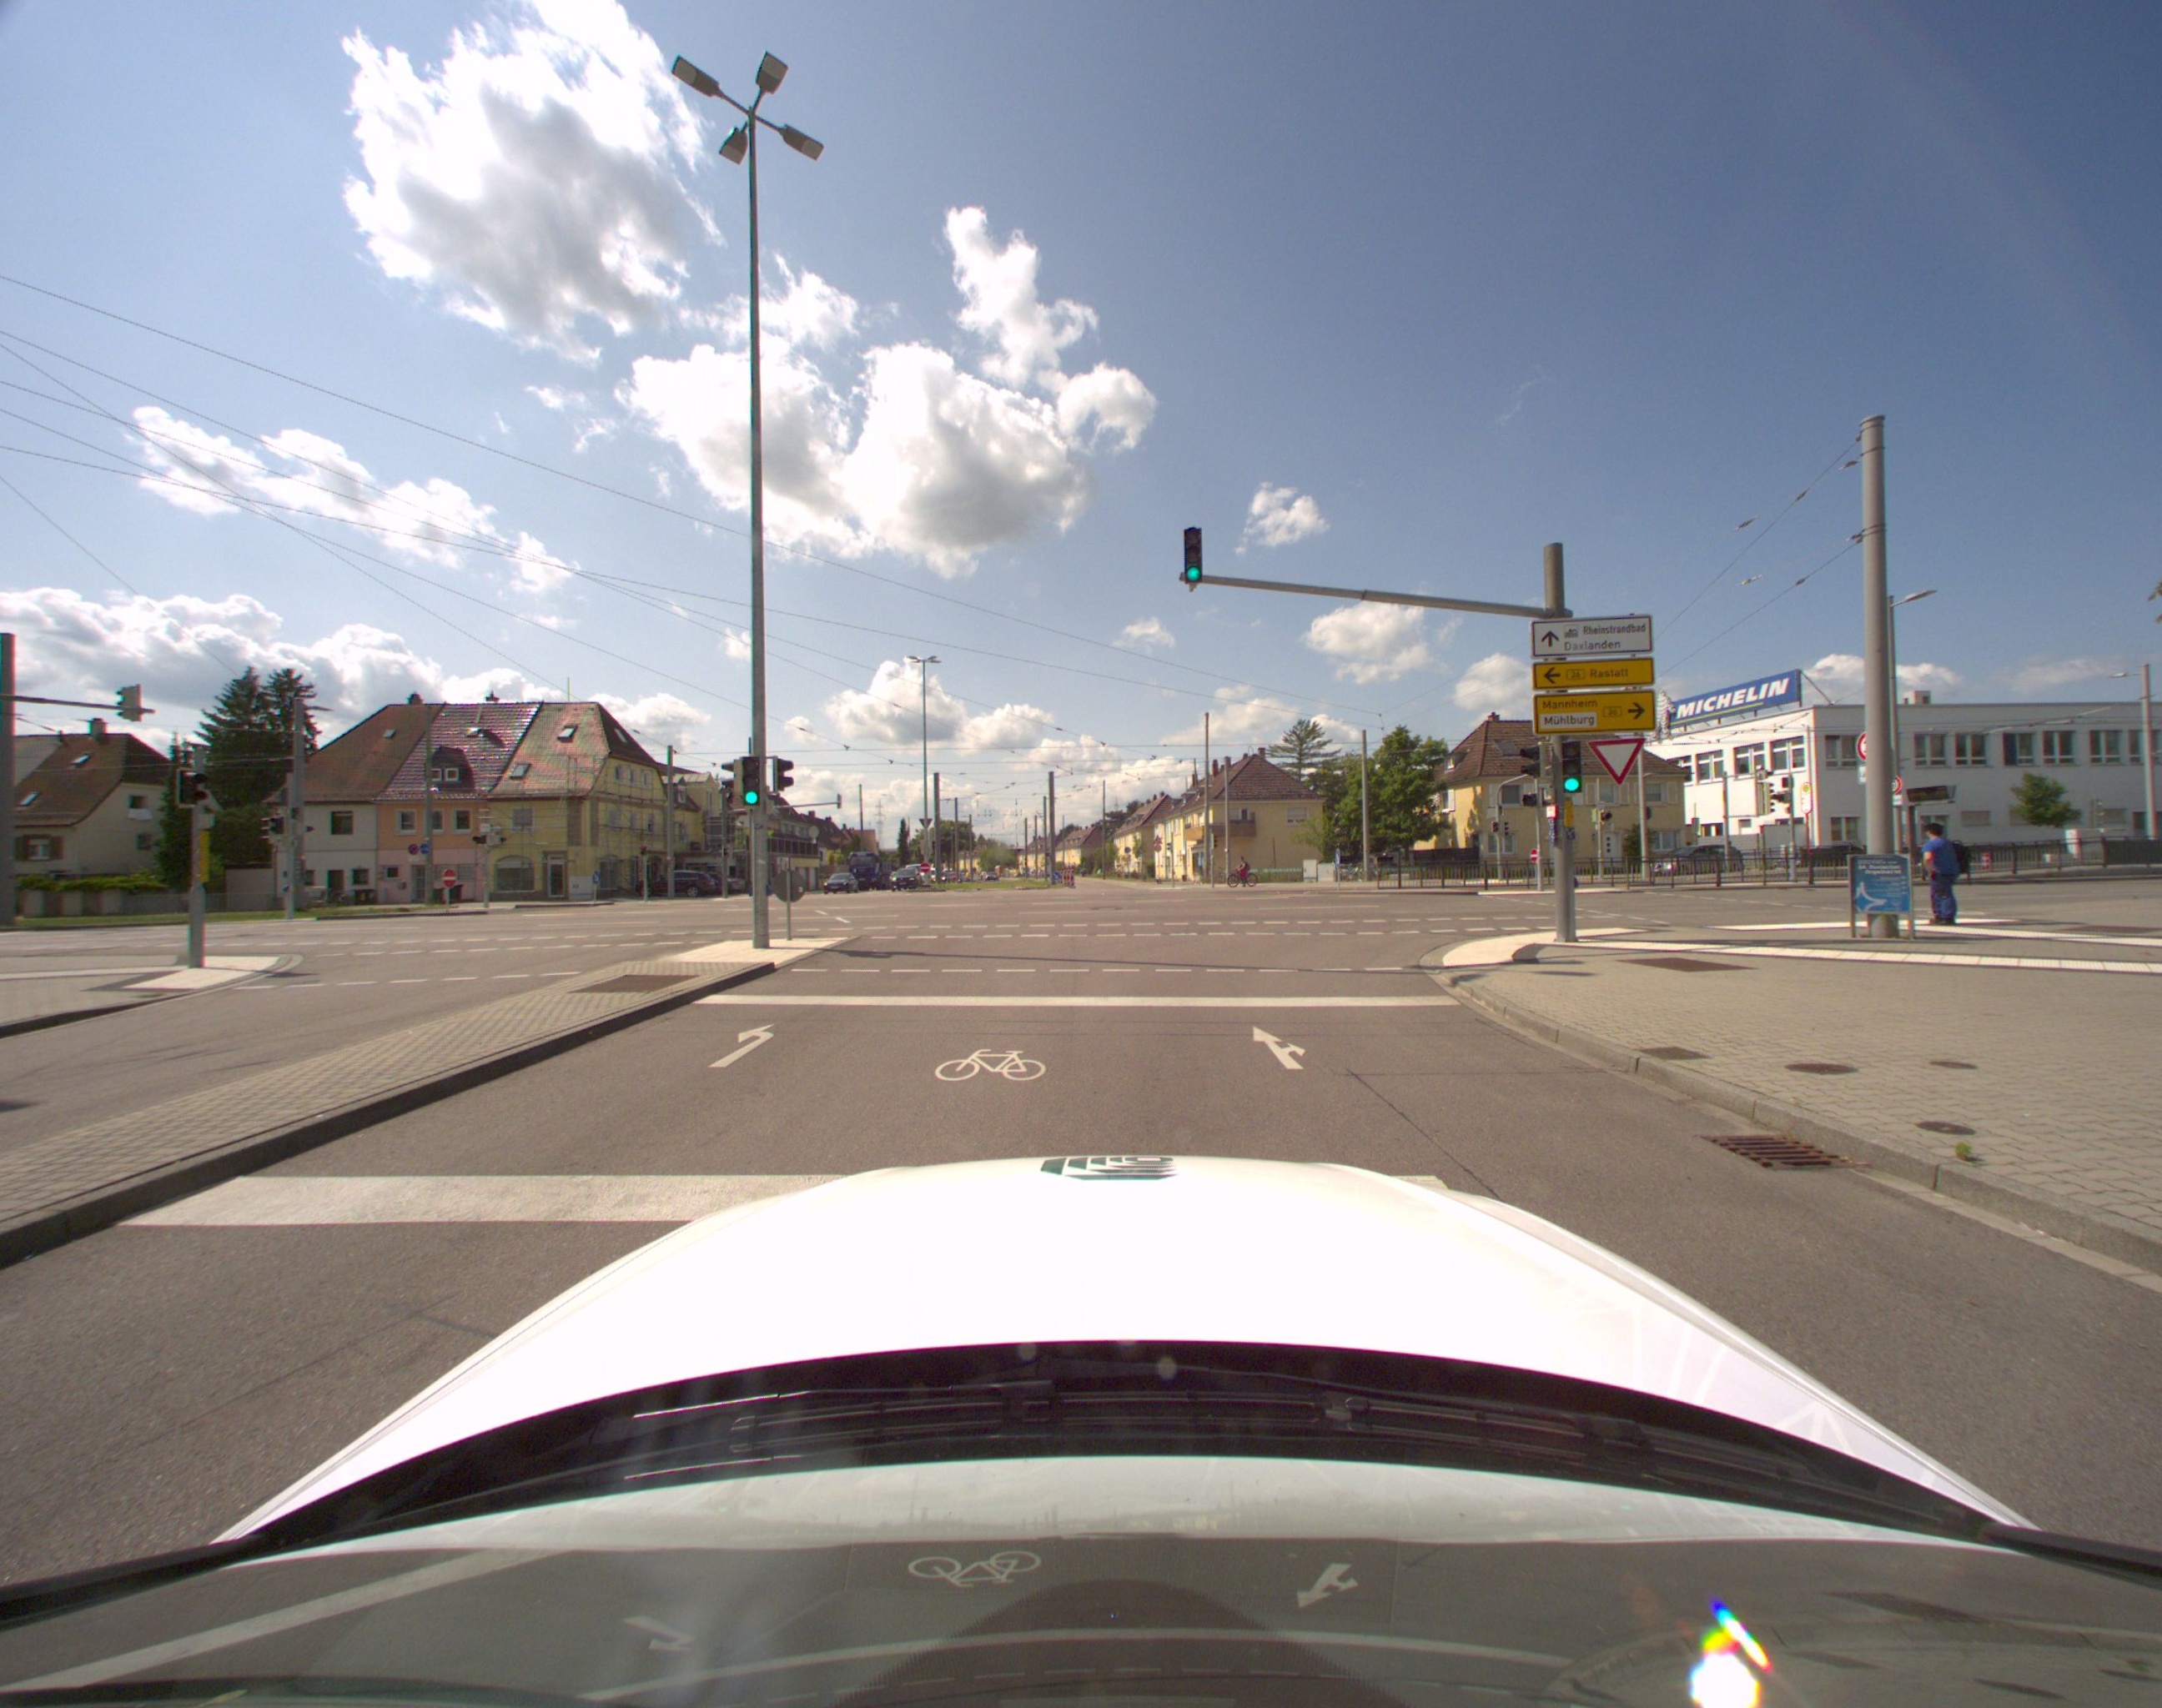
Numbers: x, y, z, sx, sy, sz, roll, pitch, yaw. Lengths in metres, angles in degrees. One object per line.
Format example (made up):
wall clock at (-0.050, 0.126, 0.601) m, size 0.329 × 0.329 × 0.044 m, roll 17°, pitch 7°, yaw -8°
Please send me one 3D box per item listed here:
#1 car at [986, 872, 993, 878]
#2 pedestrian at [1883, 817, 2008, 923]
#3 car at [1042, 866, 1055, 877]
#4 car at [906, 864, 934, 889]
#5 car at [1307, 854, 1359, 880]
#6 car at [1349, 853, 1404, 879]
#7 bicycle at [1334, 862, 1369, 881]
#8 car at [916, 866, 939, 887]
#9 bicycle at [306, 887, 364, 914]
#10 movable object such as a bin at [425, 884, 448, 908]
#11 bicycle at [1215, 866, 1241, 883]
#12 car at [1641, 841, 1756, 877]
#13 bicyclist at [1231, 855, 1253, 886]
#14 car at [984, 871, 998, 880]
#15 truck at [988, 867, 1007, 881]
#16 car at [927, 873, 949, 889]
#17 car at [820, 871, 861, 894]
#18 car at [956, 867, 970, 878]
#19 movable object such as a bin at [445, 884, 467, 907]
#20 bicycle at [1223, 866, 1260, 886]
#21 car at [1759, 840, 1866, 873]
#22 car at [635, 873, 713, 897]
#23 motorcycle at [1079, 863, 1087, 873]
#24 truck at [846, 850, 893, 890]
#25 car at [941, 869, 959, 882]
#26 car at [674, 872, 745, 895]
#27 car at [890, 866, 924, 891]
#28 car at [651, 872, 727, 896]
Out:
car at (-25.782, 5.962, 230.355) m, size 1.262 × 1.426 × 2.645 m, roll -1°, pitch -1°, yaw -22°
pedestrian at (14.925, 0.272, 14.097) m, size 1.027 × 1.735 × 1.040 m, roll -1°, pitch -1°, yaw -2°
car at (-6.369, 3.421, 157.573) m, size 2.064 × 2.149 × 4.865 m, roll -1°, pitch -1°, yaw -8°
car at (-13.103, 1.812, 66.395) m, size 1.812 × 1.922 × 4.737 m, roll -1°, pitch -1°, yaw -6°
car at (16.975, 0.899, 55.091) m, size 1.821 × 1.621 × 3.989 m, roll -1°, pitch -2°, yaw -8°
car at (19.765, 0.829, 54.660) m, size 1.821 × 1.621 × 3.989 m, roll -1°, pitch -2°, yaw -8°
bicycle at (15.942, 1.046, 48.043) m, size 1.785 × 1.105 × 0.707 m, roll -2°, pitch -1°, yaw 41°
car at (-13.975, 2.038, 74.289) m, size 1.731 × 1.782 × 4.395 m, roll -2°, pitch -1°, yaw -6°
bicycle at (-40.807, 2.522, 44.592) m, size 0.770 × 1.356 × 2.460 m, roll 0°, pitch -1°, yaw 3°
movable object such as a bin at (-35.378, 2.306, 44.723) m, size 0.680 × 1.260 × 0.681 m, roll 0°, pitch -1°, yaw -2°
bicycle at (9.852, 1.393, 54.670) m, size 0.596 × 1.096 × 2.259 m, roll -1°, pitch -2°, yaw -23°
car at (28.958, 0.242, 38.265) m, size 3.974 × 1.568 × 1.842 m, roll -1°, pitch -1°, yaw -1°
bicyclist at (9.332, 0.946, 47.252) m, size 0.961 × 1.775 × 0.714 m, roll -1°, pitch -2°, yaw -21°
car at (-15.796, 3.735, 143.130) m, size 1.812 × 1.552 × 4.003 m, roll -2°, pitch 0°, yaw 3°
truck at (-22.363, 5.444, 218.224) m, size 2.651 × 3.494 × 9.368 m, roll -1°, pitch -1°, yaw -21°
car at (-14.249, 2.668, 81.236) m, size 1.912 × 1.419 × 3.991 m, roll -1°, pitch -1°, yaw -6°
car at (-17.236, 2.027, 58.590) m, size 1.824 × 1.487 × 4.328 m, roll -1°, pitch -1°, yaw -3°
car at (-18.249, 2.834, 125.558) m, size 1.840 × 1.562 × 4.180 m, roll -1°, pitch -1°, yaw -5°
movable object such as a bin at (-35.352, 2.322, 46.058) m, size 0.680 × 1.260 × 0.681 m, roll 0°, pitch -1°, yaw -2°
bicycle at (9.304, 1.301, 47.230) m, size 2.035 × 1.102 × 0.710 m, roll -1°, pitch -2°, yaw -22°
car at (34.915, 0.119, 38.916) m, size 3.698 × 1.446 × 1.576 m, roll -1°, pitch -1°, yaw -1°
car at (-25.088, 1.912, 50.320) m, size 4.129 × 1.493 × 1.176 m, roll 1°, pitch -1°, yaw -7°
motorcycle at (0.271, 2.259, 132.142) m, size 1.065 × 1.635 × 2.079 m, roll -1°, pitch -1°, yaw -6°
truck at (-18.159, 1.381, 70.234) m, size 2.765 × 3.188 × 7.565 m, roll -1°, pitch -1°, yaw -6°
car at (-16.277, 2.664, 101.538) m, size 1.840 × 1.494 × 4.847 m, roll -1°, pitch -1°, yaw -5°
car at (-25.394, 2.012, 55.718) m, size 4.129 × 1.493 × 1.431 m, roll 1°, pitch -1°, yaw -7°
car at (-12.778, 1.748, 59.967) m, size 1.783 × 1.720 × 4.433 m, roll -1°, pitch 0°, yaw -5°
car at (-25.450, 1.944, 53.007) m, size 4.129 × 1.493 × 1.504 m, roll 1°, pitch -1°, yaw -7°
